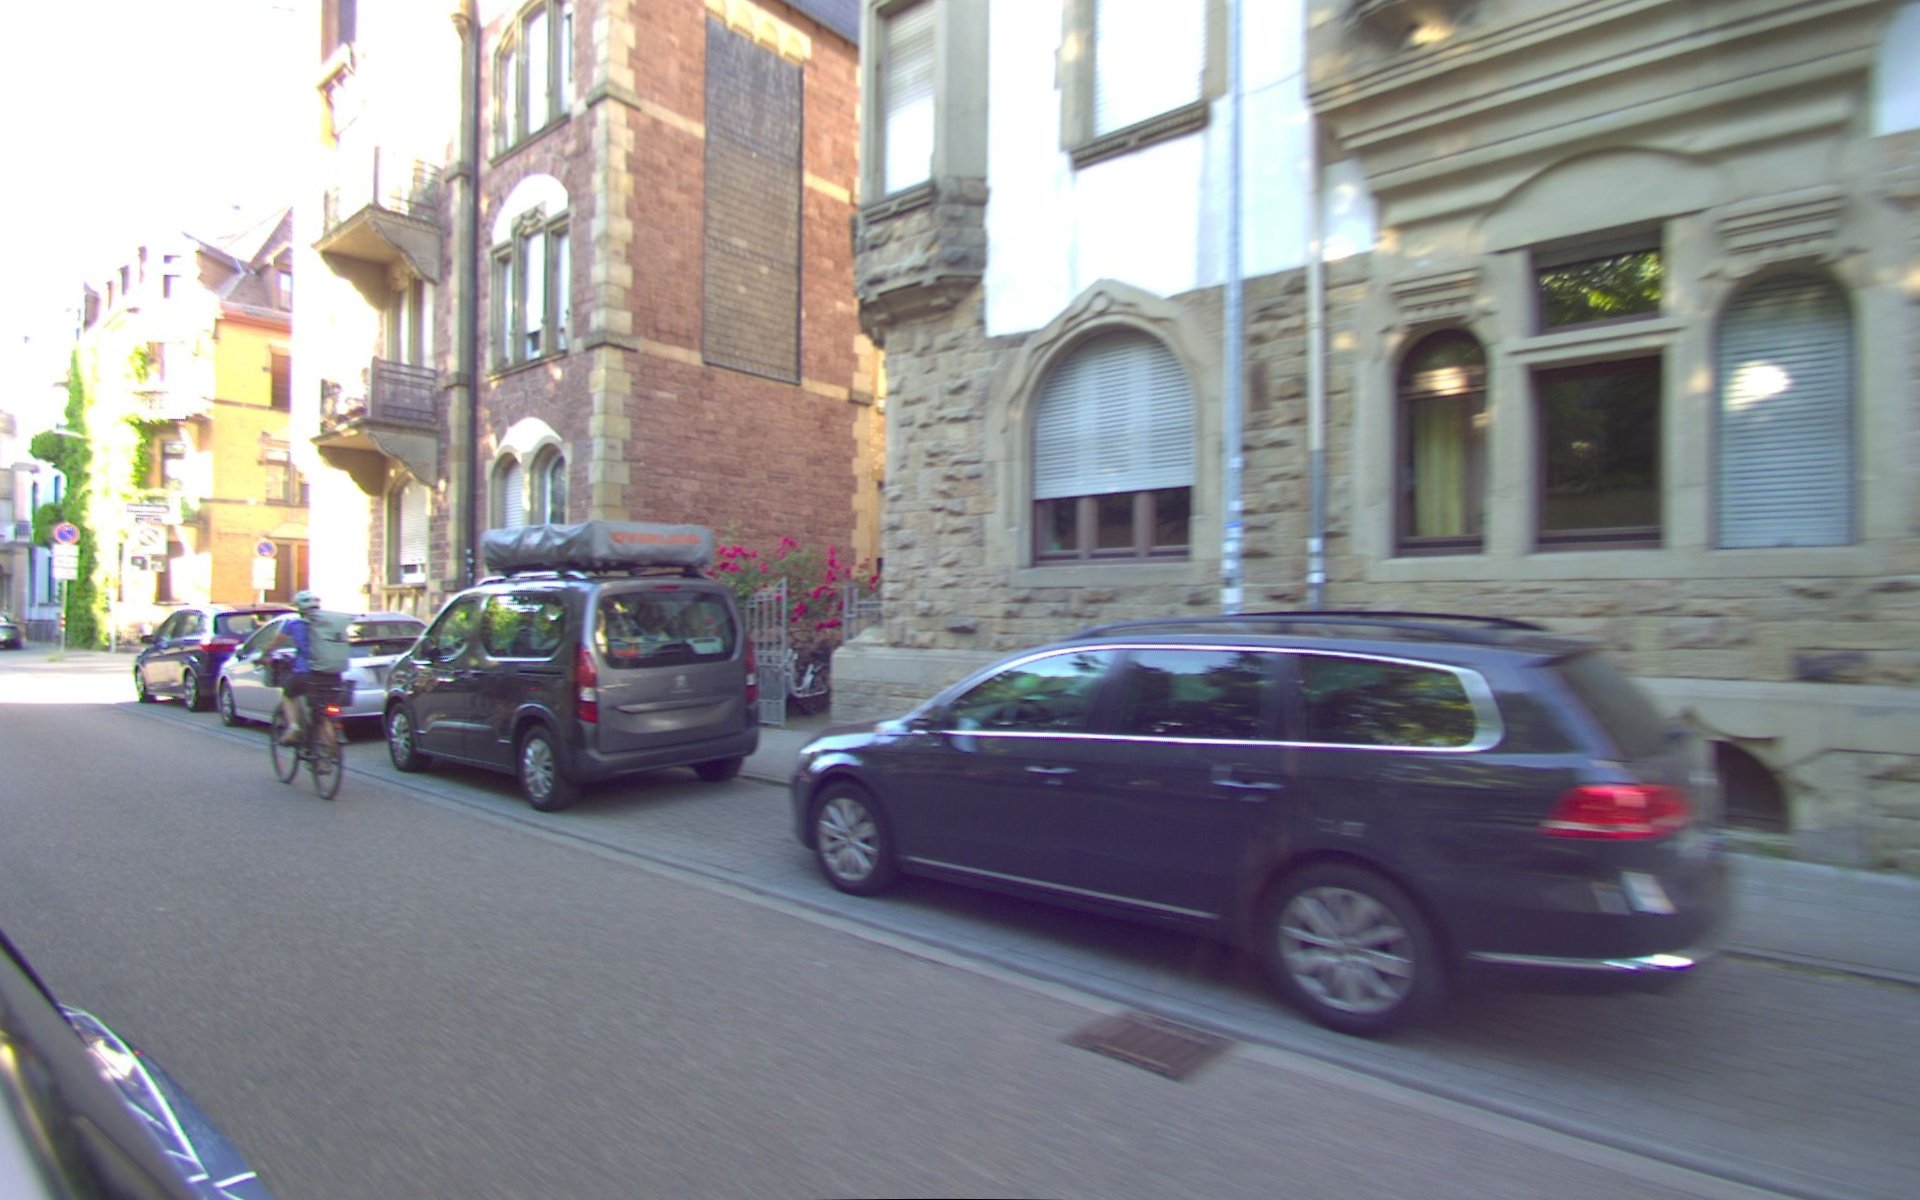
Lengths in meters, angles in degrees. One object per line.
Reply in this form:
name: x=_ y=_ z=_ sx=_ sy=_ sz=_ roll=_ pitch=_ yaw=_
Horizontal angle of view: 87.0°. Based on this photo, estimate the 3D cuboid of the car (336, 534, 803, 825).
car: x=-3.663 y=0.575 z=9.101 sx=4.493 sy=1.989 sz=1.949 roll=-1 pitch=-1 yaw=39

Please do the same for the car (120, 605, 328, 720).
car: x=-12.054 y=0.932 z=16.483 sx=4.254 sy=1.634 sz=1.712 roll=-1 pitch=-1 yaw=39

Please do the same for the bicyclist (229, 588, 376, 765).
bicyclist: x=-5.424 y=0.607 z=8.343 sx=1.058 sy=1.355 sz=0.659 roll=-1 pitch=-4 yaw=37

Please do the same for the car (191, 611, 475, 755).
car: x=-8.054 y=0.920 z=12.834 sx=4.450 sy=1.510 sz=1.712 roll=-1 pitch=-1 yaw=39

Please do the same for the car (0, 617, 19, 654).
car: x=-38.410 y=1.380 z=39.531 sx=4.922 sy=1.415 sz=1.858 roll=-1 pitch=0 yaw=40

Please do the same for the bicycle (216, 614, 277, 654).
bicycle: x=-23.649 y=1.116 z=33.555 sx=1.577 sy=1.278 sz=0.566 roll=1 pitch=-2 yaw=-40

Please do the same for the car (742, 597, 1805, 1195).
car: x=1.053 y=0.816 z=4.972 sx=4.708 sy=1.586 sz=1.711 roll=1 pitch=-1 yaw=42

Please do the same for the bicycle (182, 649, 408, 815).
bicycle: x=-5.655 y=1.022 z=8.523 sx=2.616 sy=1.187 sz=0.746 roll=-1 pitch=-4 yaw=38

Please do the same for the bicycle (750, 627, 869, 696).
bicycle: x=-2.504 y=1.019 z=17.199 sx=0.608 sy=1.087 sz=2.332 roll=-1 pitch=-2 yaw=33
